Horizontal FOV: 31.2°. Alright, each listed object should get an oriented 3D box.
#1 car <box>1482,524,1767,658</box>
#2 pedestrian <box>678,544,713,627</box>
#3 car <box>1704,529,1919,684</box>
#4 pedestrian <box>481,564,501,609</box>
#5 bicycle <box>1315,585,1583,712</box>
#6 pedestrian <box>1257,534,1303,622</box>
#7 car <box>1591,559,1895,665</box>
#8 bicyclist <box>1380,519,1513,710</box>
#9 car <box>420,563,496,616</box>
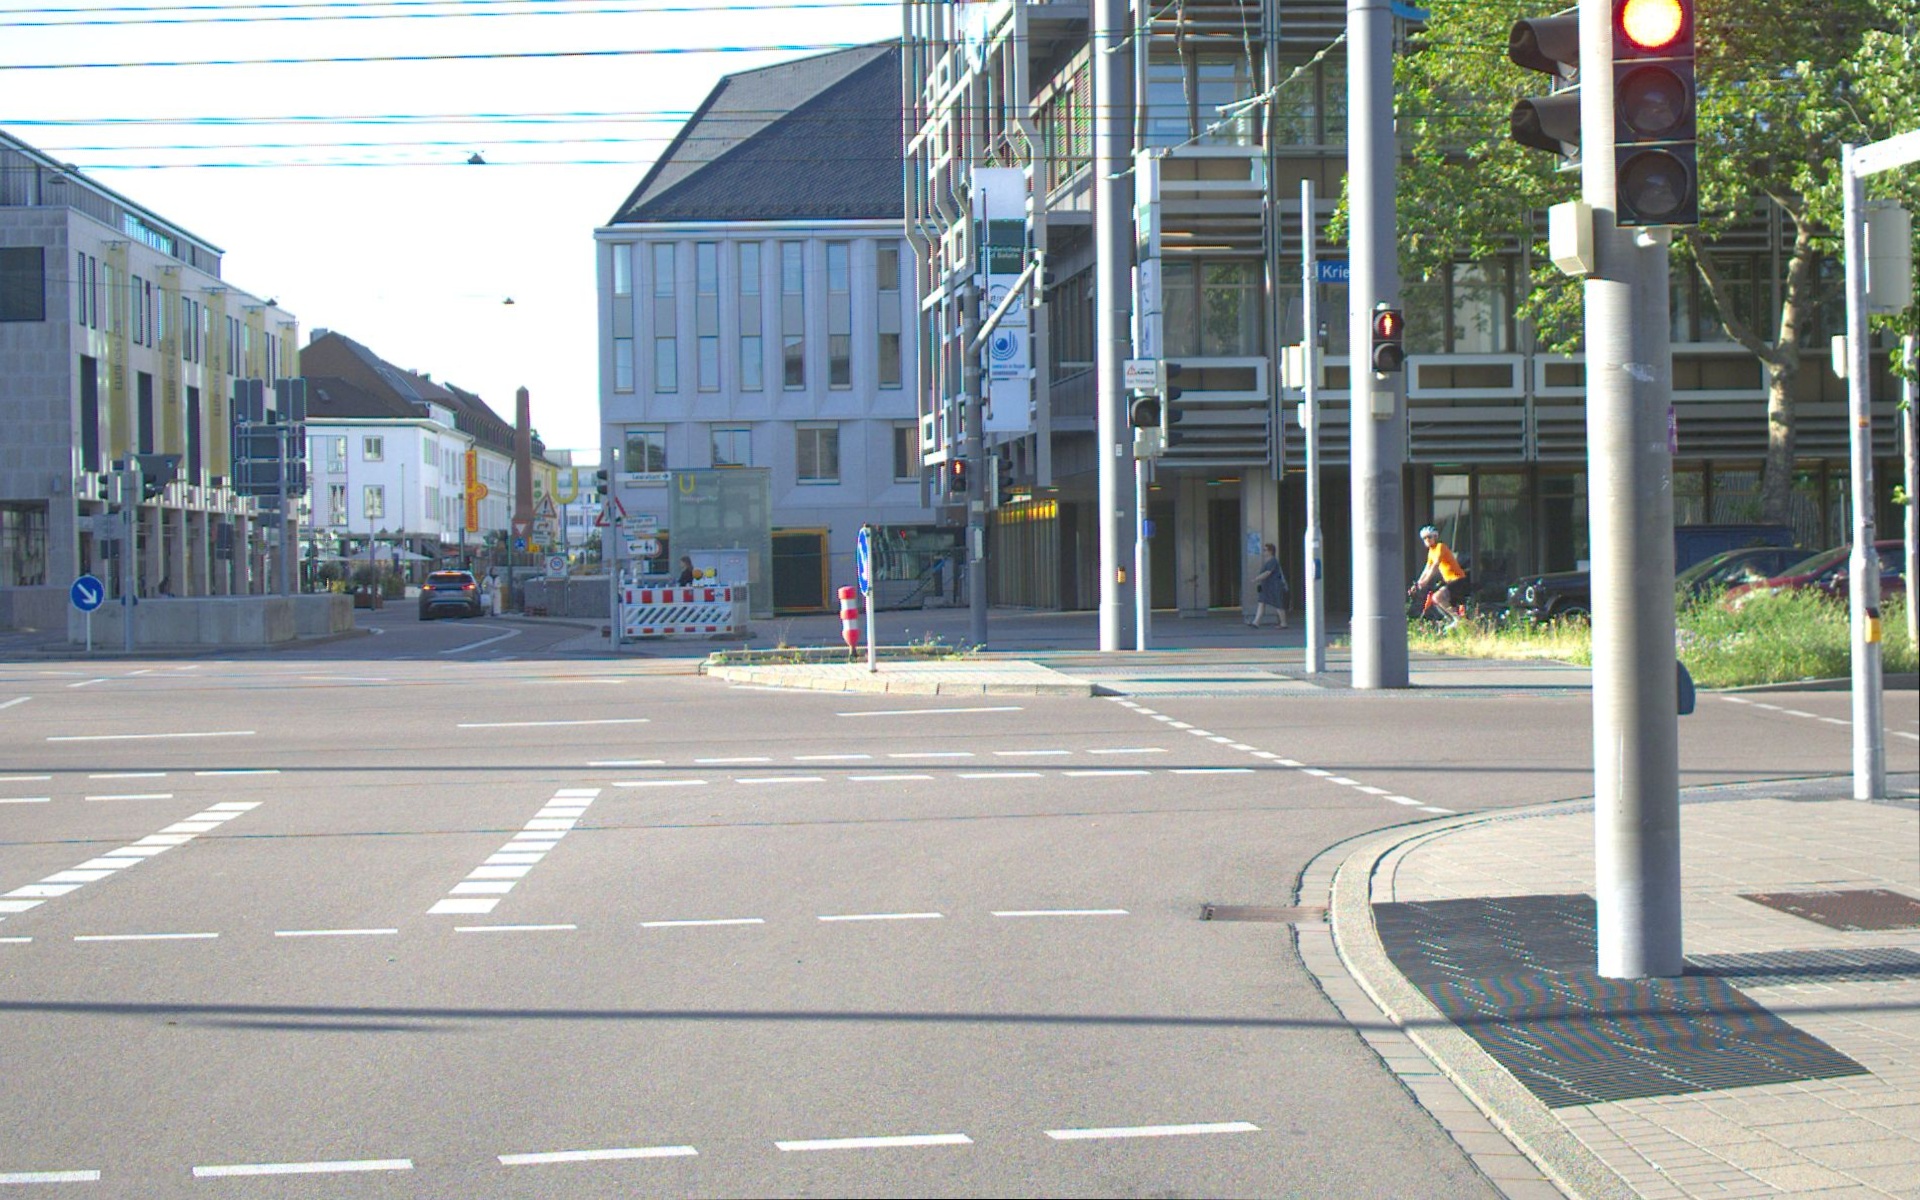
[{"bbox_3d":[10.347,-0.142,53.769,3.986,2.007,2.000,1,0,-3],"label":"car"},{"bbox_3d":[-5.303,-0.299,69.050,0.663,1.652,0.755,-1,1,-3],"label":"pedestrian"},{"bbox_3d":[12.290,0.088,46.401,3.986,2.007,2.000,1,0,-3],"label":"car"},{"bbox_3d":[-14.663,-0.430,107.464,0.609,1.406,0.570,-1,1,-6],"label":"pedestrian"},{"bbox_3d":[6.696,0.650,47.138,3.490,1.653,0.932,-1,1,-9],"label":"bicycle"},{"bbox_3d":[6.137,-0.425,65.954,0.729,1.652,0.651,-1,1,-7],"label":"pedestrian"},{"bbox_3d":[11.496,0.159,50.652,3.986,1.503,1.868,0,1,-3],"label":"car"},{"bbox_3d":[6.664,0.190,47.131,1.567,2.571,0.932,-1,1,-9],"label":"bicyclist"},{"bbox_3d":[-15.806,-0.348,108.414,2.199,1.601,4.327,-1,1,-6],"label":"car"}]
